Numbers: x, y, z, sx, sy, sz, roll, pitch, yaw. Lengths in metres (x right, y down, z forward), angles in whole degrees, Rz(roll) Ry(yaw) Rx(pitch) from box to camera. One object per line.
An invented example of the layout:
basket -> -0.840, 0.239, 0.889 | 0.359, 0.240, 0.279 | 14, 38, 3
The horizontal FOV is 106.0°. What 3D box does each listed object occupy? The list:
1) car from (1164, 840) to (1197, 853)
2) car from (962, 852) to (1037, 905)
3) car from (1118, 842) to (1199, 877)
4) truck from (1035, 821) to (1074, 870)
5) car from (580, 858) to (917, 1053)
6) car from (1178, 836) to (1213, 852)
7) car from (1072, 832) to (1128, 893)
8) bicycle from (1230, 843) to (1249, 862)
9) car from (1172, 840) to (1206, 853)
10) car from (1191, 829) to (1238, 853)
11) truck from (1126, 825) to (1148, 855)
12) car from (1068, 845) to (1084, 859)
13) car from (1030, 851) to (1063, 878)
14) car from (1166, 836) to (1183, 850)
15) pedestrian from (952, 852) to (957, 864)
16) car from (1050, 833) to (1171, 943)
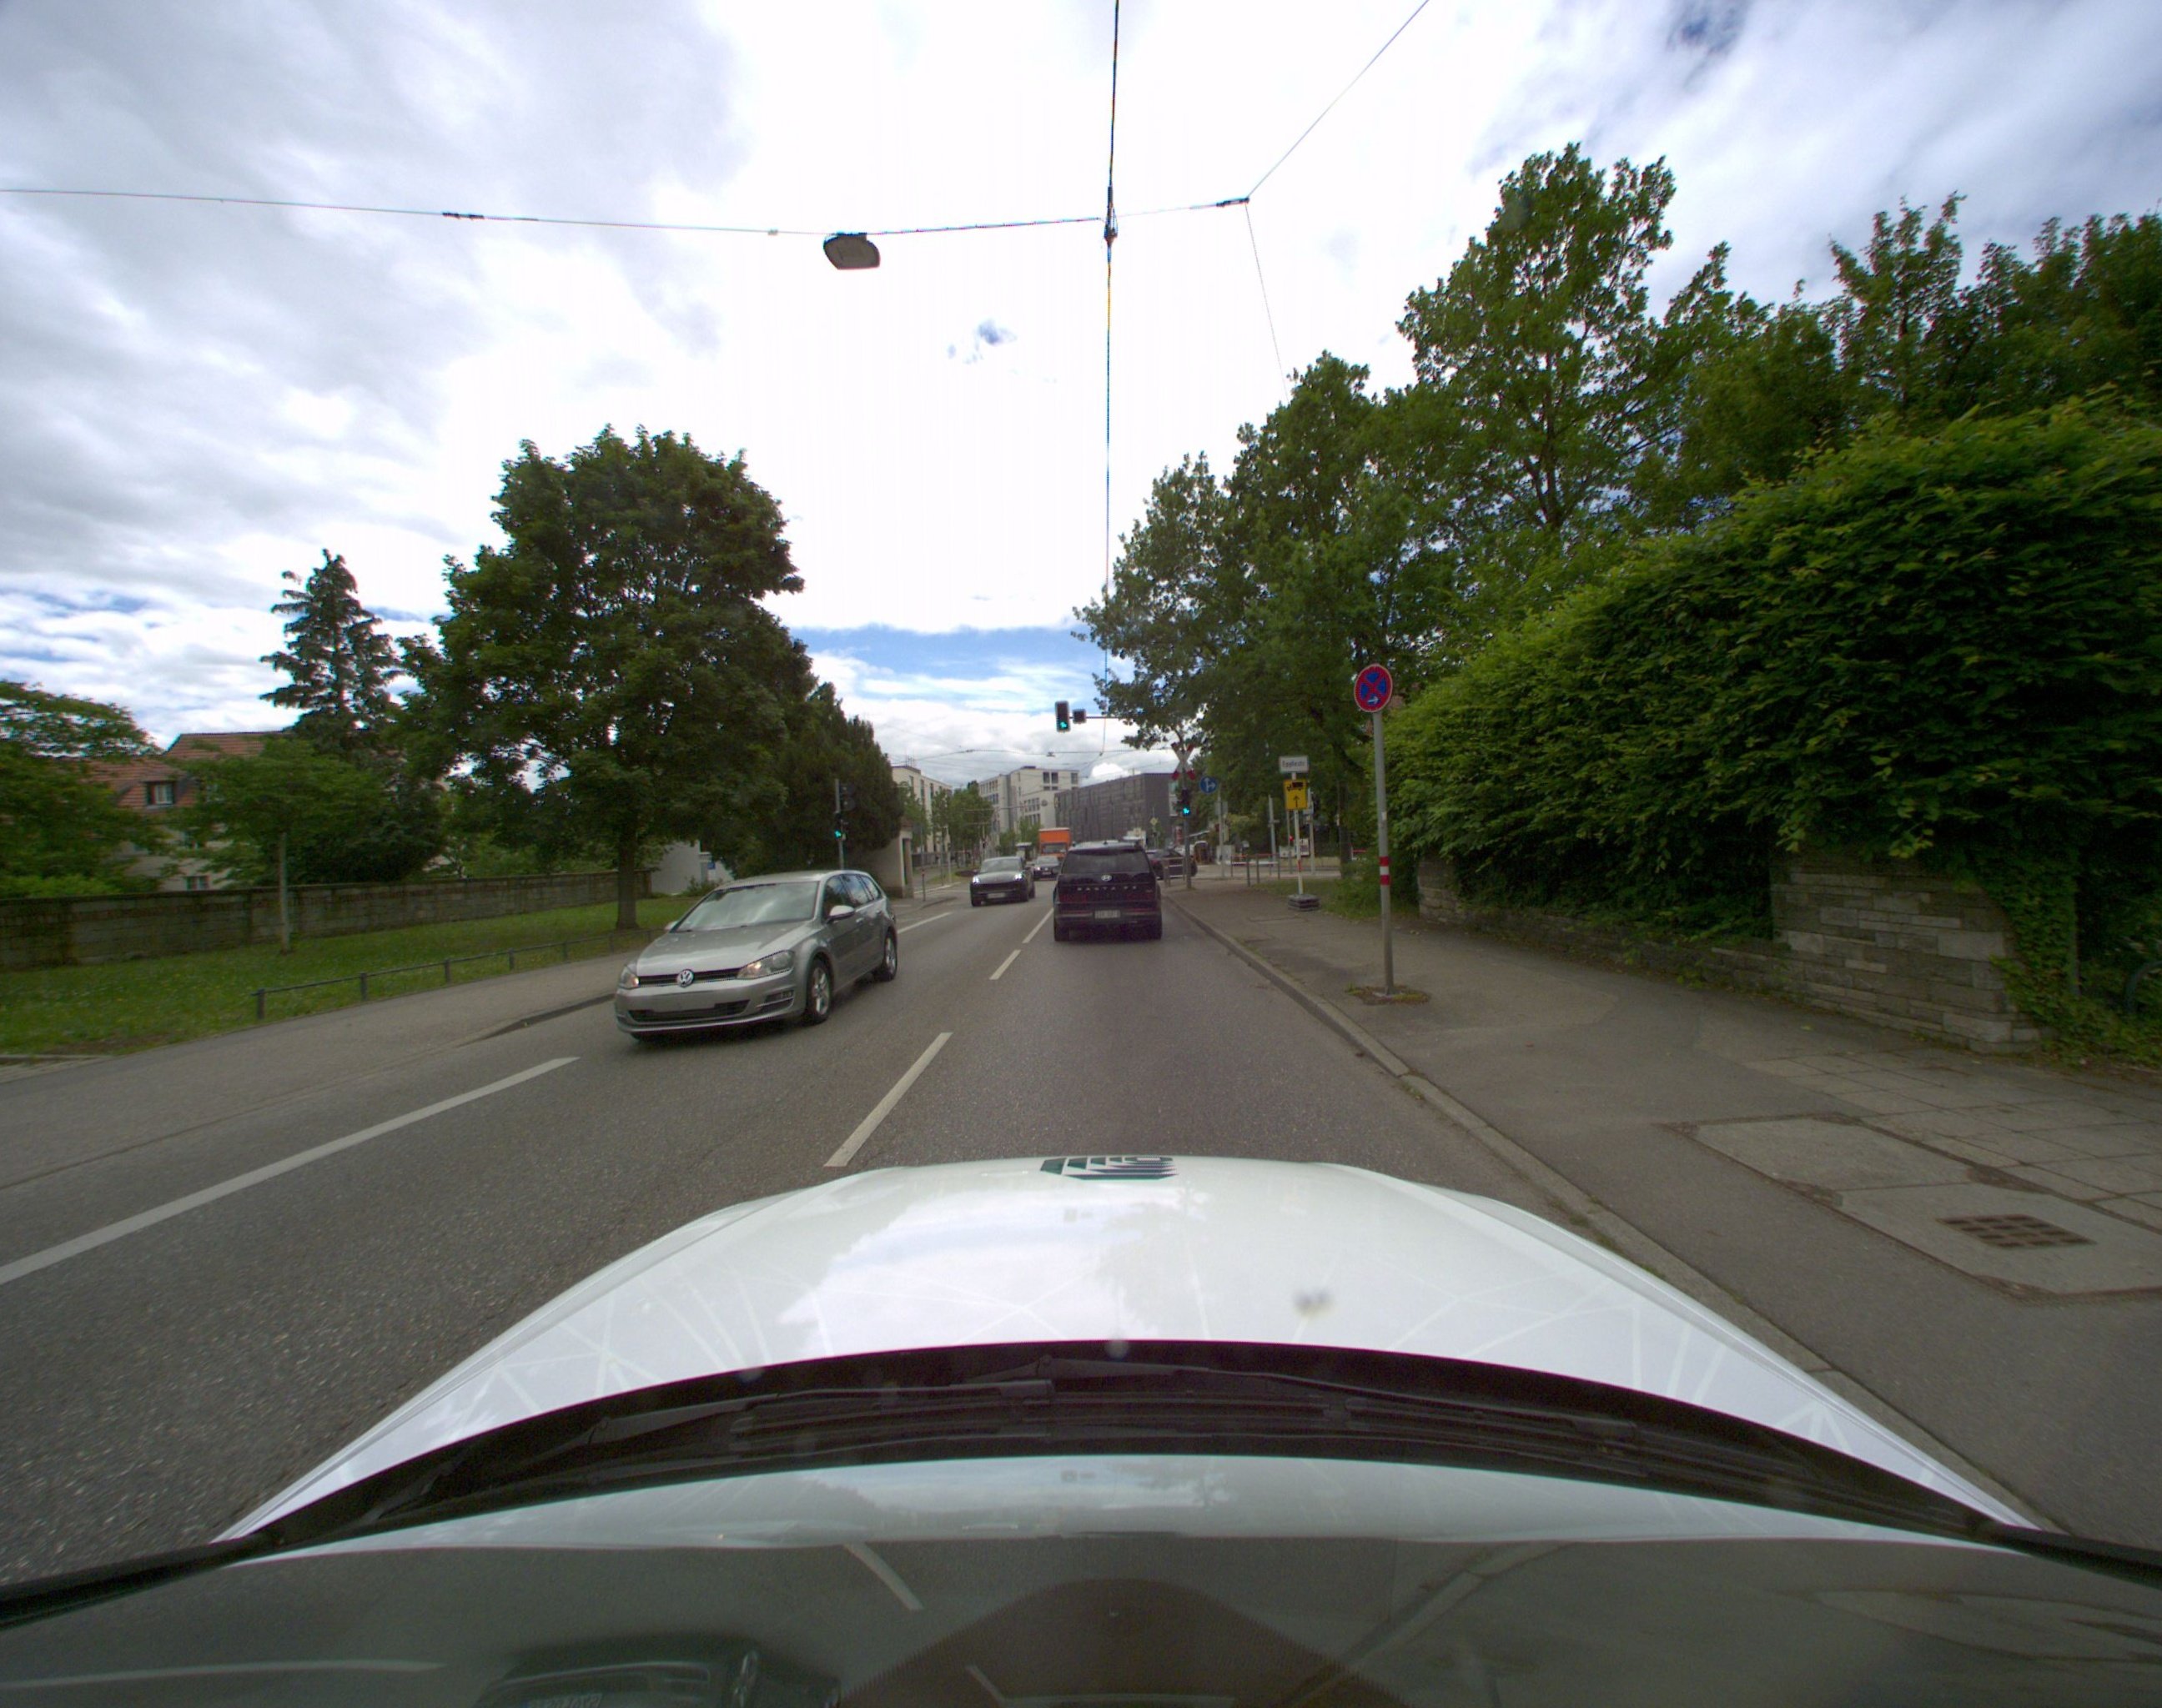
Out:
car -> 12.757, -0.954, 104.532 | 3.808, 1.473, 1.784 | -1, -1, -24
car -> -2.792, 0.808, 28.929 | 1.932, 1.531, 4.528 | -6, 0, 2
car -> 3.822, 0.232, 39.507 | 1.974, 1.463, 4.548 | -2, 0, 33
truck -> -2.211, -0.717, 71.059 | 2.760, 3.718, 8.468 | -6, 0, 0
car -> -3.219, 0.864, 8.928 | 1.718, 1.462, 4.157 | -4, 0, 3
car -> 13.104, -1.107, 93.066 | 3.658, 1.435, 1.578 | -5, 0, -26
car -> 0.715, 0.267, 30.949 | 1.849, 2.033, 4.438 | -4, 1, 1
bicycle -> 10.722, -0.105, 55.110 | 0.548, 1.138, 1.872 | -3, 4, -11
car -> 13.124, -0.963, 99.124 | 3.814, 1.473, 1.781 | -1, -1, -29
car -> 11.659, -1.137, 71.033 | 1.827, 1.748, 4.726 | -3, 1, 39
truck -> 7.185, -1.834, 105.461 | 2.562, 3.525, 7.817 | -4, 1, 3
car -> -0.615, -0.281, 105.696 | 1.781, 1.661, 4.278 | -4, 1, 1
car -> -2.051, 0.585, 49.202 | 1.658, 1.448, 3.828 | -3, 0, 1
car -> 13.654, -1.582, 118.967 | 1.986, 1.837, 4.519 | -5, 0, 1
pedestrian -> -19.688, 0.623, 126.809 | 0.611, 1.694, 0.785 | -3, 0, 1
car -> 0.461, 0.521, 15.286 | 1.909, 1.725, 4.169 | -2, 1, -1
